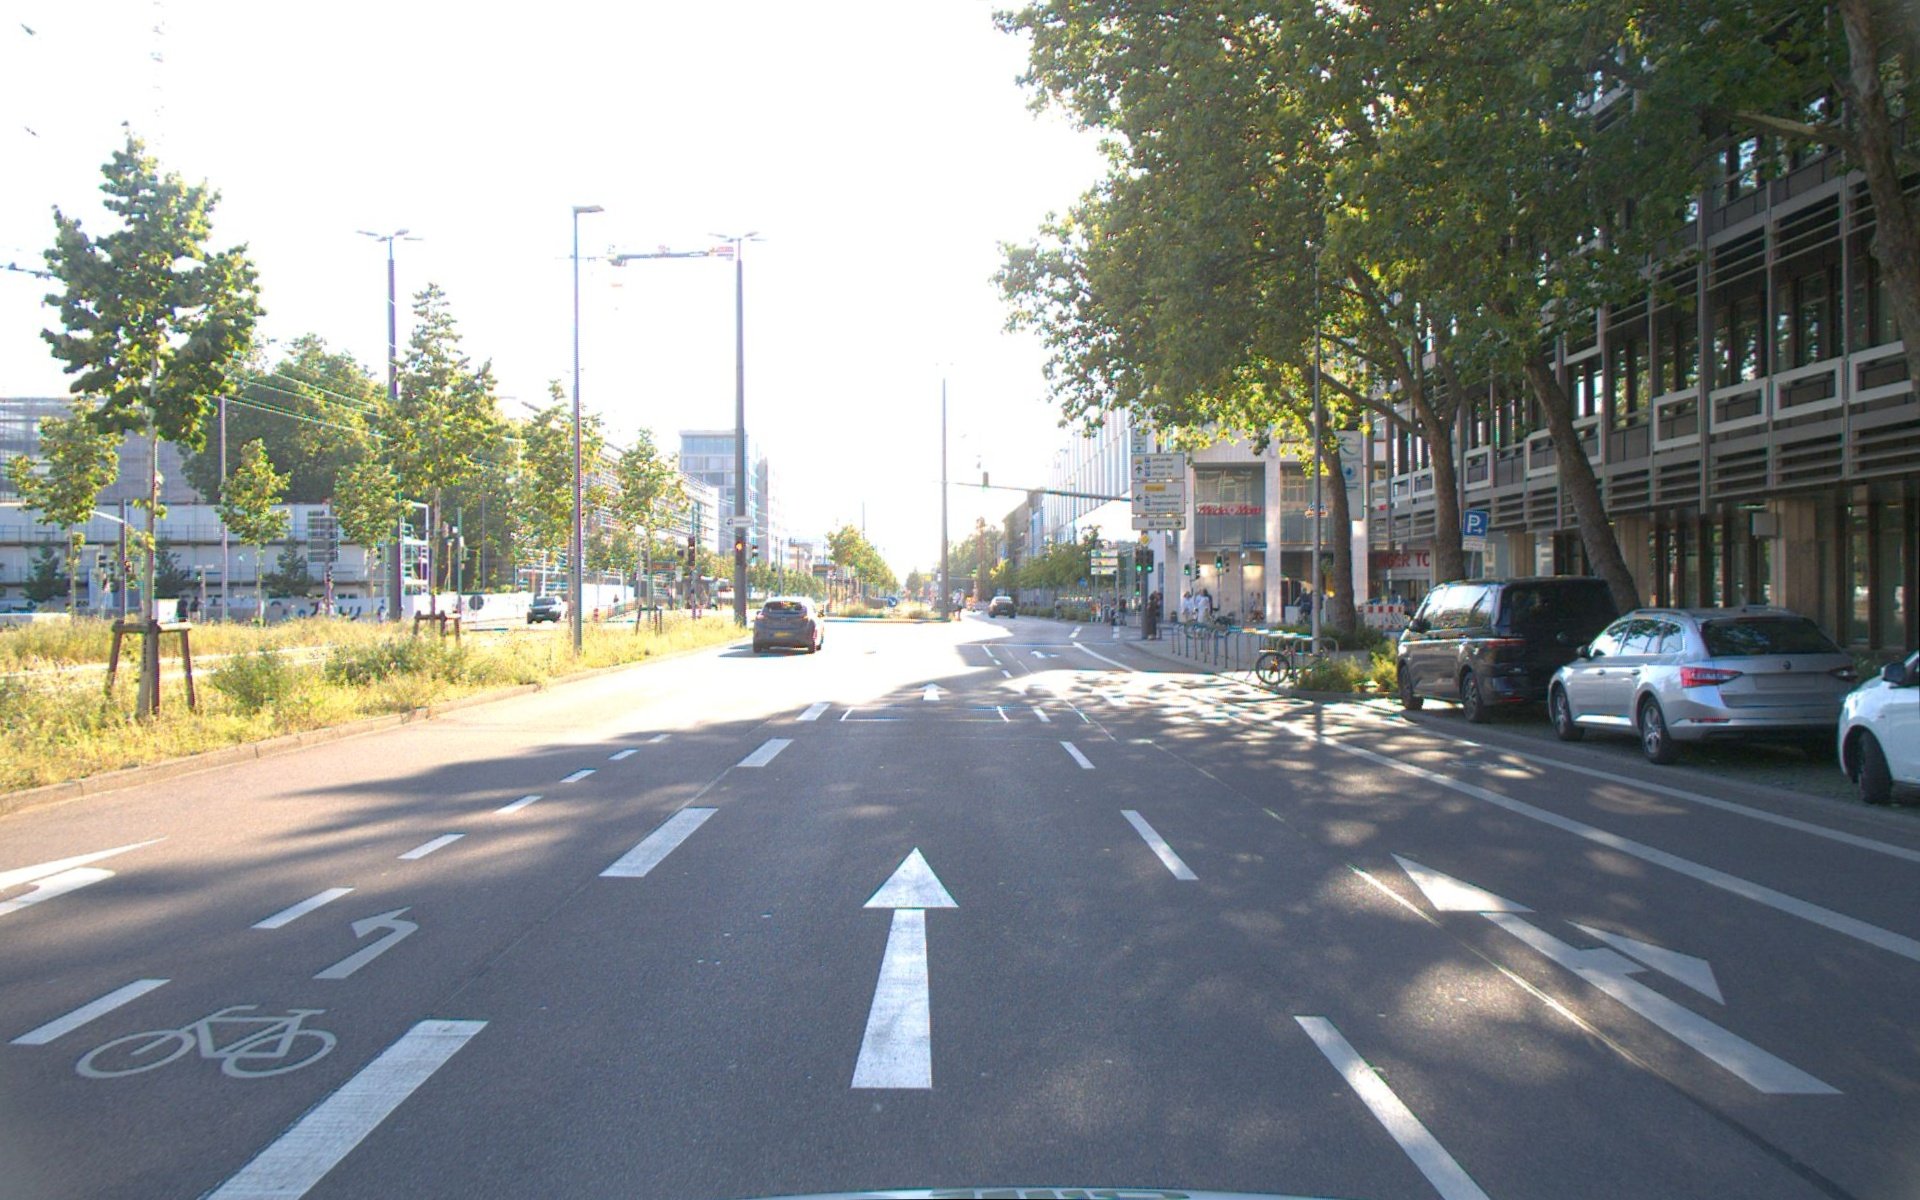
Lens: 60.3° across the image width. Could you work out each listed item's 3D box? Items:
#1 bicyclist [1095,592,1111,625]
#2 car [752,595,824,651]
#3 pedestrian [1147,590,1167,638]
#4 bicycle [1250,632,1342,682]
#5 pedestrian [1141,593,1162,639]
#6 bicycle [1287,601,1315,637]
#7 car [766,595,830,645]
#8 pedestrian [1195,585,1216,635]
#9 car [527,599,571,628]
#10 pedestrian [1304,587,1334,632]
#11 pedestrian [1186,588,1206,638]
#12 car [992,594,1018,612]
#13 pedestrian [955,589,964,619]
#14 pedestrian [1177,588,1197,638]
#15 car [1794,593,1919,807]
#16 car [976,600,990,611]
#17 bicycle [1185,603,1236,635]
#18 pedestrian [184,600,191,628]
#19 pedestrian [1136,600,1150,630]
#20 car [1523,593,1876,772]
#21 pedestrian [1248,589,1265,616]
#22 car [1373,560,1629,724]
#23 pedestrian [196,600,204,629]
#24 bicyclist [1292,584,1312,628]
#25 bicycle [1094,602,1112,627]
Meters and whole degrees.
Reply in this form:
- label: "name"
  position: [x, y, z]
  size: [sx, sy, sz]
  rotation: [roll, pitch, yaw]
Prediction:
- label: "bicyclist"
  position: [7.092, 0.415, 82.007]
  size: [0.783, 1.630, 0.785]
  rotation: [0, 0, 3]
- label: "car"
  position: [-4.666, 0.596, 45.320]
  size: [1.741, 1.453, 3.998]
  rotation: [1, 0, -3]
- label: "pedestrian"
  position: [7.298, 0.512, 61.178]
  size: [0.621, 1.732, 0.570]
  rotation: [-2, 0, 0]
- label: "bicycle"
  position: [6.421, 1.087, 31.655]
  size: [1.656, 0.882, 0.573]
  rotation: [-2, 0, 7]
- label: "pedestrian"
  position: [7.019, 0.580, 60.632]
  size: [0.621, 1.636, 0.570]
  rotation: [-2, 0, 0]
- label: "bicycle"
  position: [12.315, 0.666, 59.763]
  size: [0.580, 1.253, 2.154]
  rotation: [0, 0, 0]
- label: "car"
  position: [-4.957, 0.589, 51.059]
  size: [1.669, 1.453, 3.924]
  rotation: [1, 0, -2]
- label: "pedestrian"
  position: [8.759, 0.355, 59.070]
  size: [0.621, 1.732, 0.570]
  rotation: [-2, 0, 0]
- label: "car"
  position: [-26.909, 0.853, 108.466]
  size: [1.953, 1.807, 3.999]
  rotation: [0, 0, -1]
- label: "pedestrian"
  position: [13.867, 0.354, 63.889]
  size: [0.890, 1.733, 1.113]
  rotation: [0, 0, 0]
- label: "pedestrian"
  position: [10.096, 0.543, 70.817]
  size: [0.750, 2.096, 0.797]
  rotation: [-2, 0, 5]
- label: "car"
  position: [3.733, 0.241, 138.992]
  size: [1.901, 1.453, 3.923]
  rotation: [0, 0, -3]
- label: "pedestrian"
  position: [-0.020, 0.248, 97.498]
  size: [0.483, 1.774, 0.446]
  rotation: [0, 0, -11]
- label: "pedestrian"
  position: [9.850, 0.555, 71.784]
  size: [0.750, 2.096, 0.797]
  rotation: [-2, 0, 5]
- label: "car"
  position: [7.742, 0.713, 11.703]
  size: [1.647, 1.504, 3.873]
  rotation: [-2, 0, -1]
- label: "car"
  position: [3.206, 0.710, 227.012]
  size: [1.669, 1.453, 3.923]
  rotation: [0, 0, -3]
- label: "bicycle"
  position: [9.101, 0.702, 60.168]
  size: [1.766, 1.105, 0.479]
  rotation: [-2, 0, 0]
- label: "pedestrian"
  position: [-40.244, 0.721, 86.158]
  size: [0.268, 1.490, 0.279]
  rotation: [0, 0, -1]
- label: "pedestrian"
  position: [10.888, 0.914, 98.545]
  size: [0.800, 1.765, 0.790]
  rotation: [0, 0, 2]
- label: "car"
  position: [7.565, 0.737, 17.529]
  size: [1.646, 1.541, 5.061]
  rotation: [-2, 0, 3]
- label: "pedestrian"
  position: [18.135, 0.152, 101.108]
  size: [0.852, 1.613, 0.825]
  rotation: [-2, 0, 2]
- label: "car"
  position: [7.556, 0.524, 23.725]
  size: [1.792, 2.005, 5.321]
  rotation: [-2, 0, -1]
- label: "pedestrian"
  position: [-39.714, 0.741, 86.388]
  size: [0.268, 1.490, 0.316]
  rotation: [0, 0, -1]
- label: "bicyclist"
  position: [12.311, 0.211, 59.482]
  size: [0.566, 1.549, 0.749]
  rotation: [0, 0, 0]
- label: "bicycle"
  position: [7.096, 0.701, 82.023]
  size: [0.783, 1.225, 2.265]
  rotation: [0, 0, 3]
